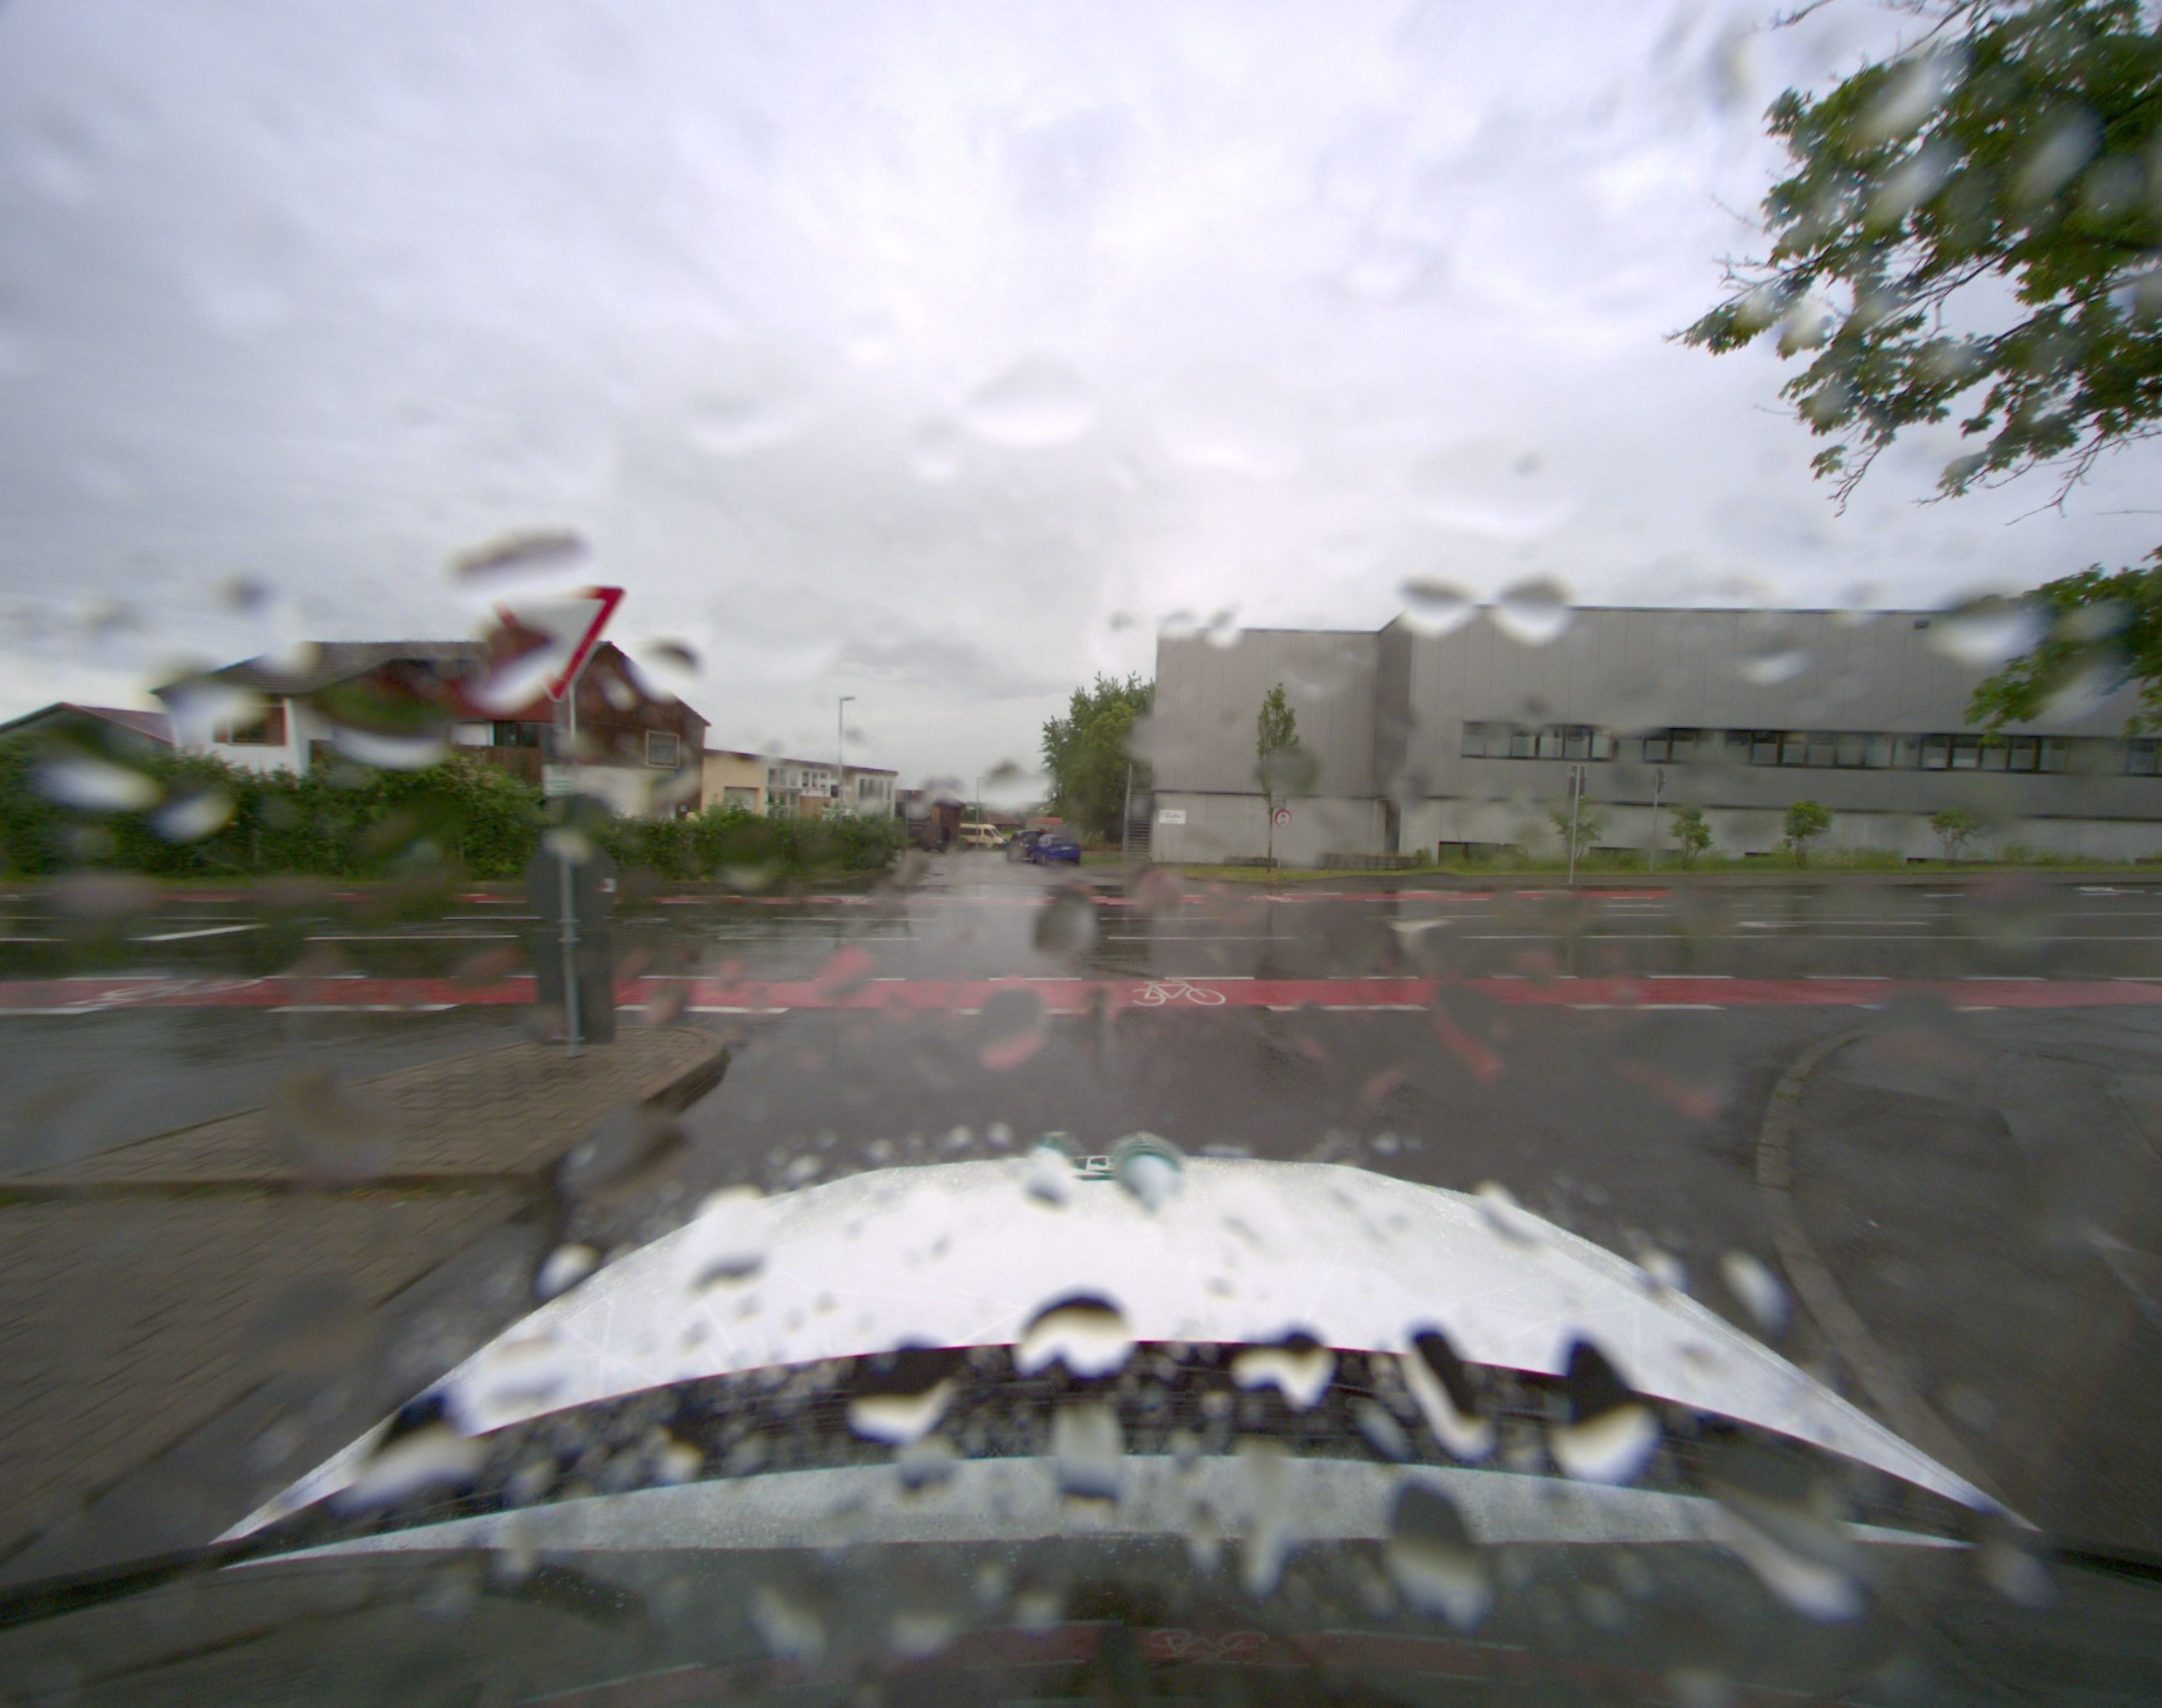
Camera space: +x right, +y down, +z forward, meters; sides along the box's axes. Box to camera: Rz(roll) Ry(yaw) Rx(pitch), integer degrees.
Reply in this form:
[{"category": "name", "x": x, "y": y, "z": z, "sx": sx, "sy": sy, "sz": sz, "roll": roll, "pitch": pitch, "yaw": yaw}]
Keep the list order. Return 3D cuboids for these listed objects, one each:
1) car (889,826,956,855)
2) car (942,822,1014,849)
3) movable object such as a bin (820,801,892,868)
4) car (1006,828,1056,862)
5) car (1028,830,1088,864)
[{"category": "car", "x": -11.007, "y": -0.929, "z": 56.404, "sx": 4.353, "sy": 1.905, "sz": 2.013, "roll": 1, "pitch": 1, "yaw": 33}, {"category": "car", "x": -9.352, "y": -1.715, "z": 74.269, "sx": 5.971, "sy": 2.415, "sz": 2.471, "roll": 1, "pitch": 1, "yaw": 10}, {"category": "movable object such as a bin", "x": -9.039, "y": -0.781, "z": 32.998, "sx": 1.724, "sy": 2.556, "sz": 3.344, "roll": 0, "pitch": 1, "yaw": 5}, {"category": "car", "x": -2.888, "y": -0.505, "z": 46.080, "sx": 2.077, "sy": 1.834, "sz": 4.449, "roll": 0, "pitch": 1, "yaw": -14}, {"category": "car", "x": -1.189, "y": -0.352, "z": 40.089, "sx": 1.955, "sy": 1.610, "sz": 4.424, "roll": 0, "pitch": 1, "yaw": -15}]
